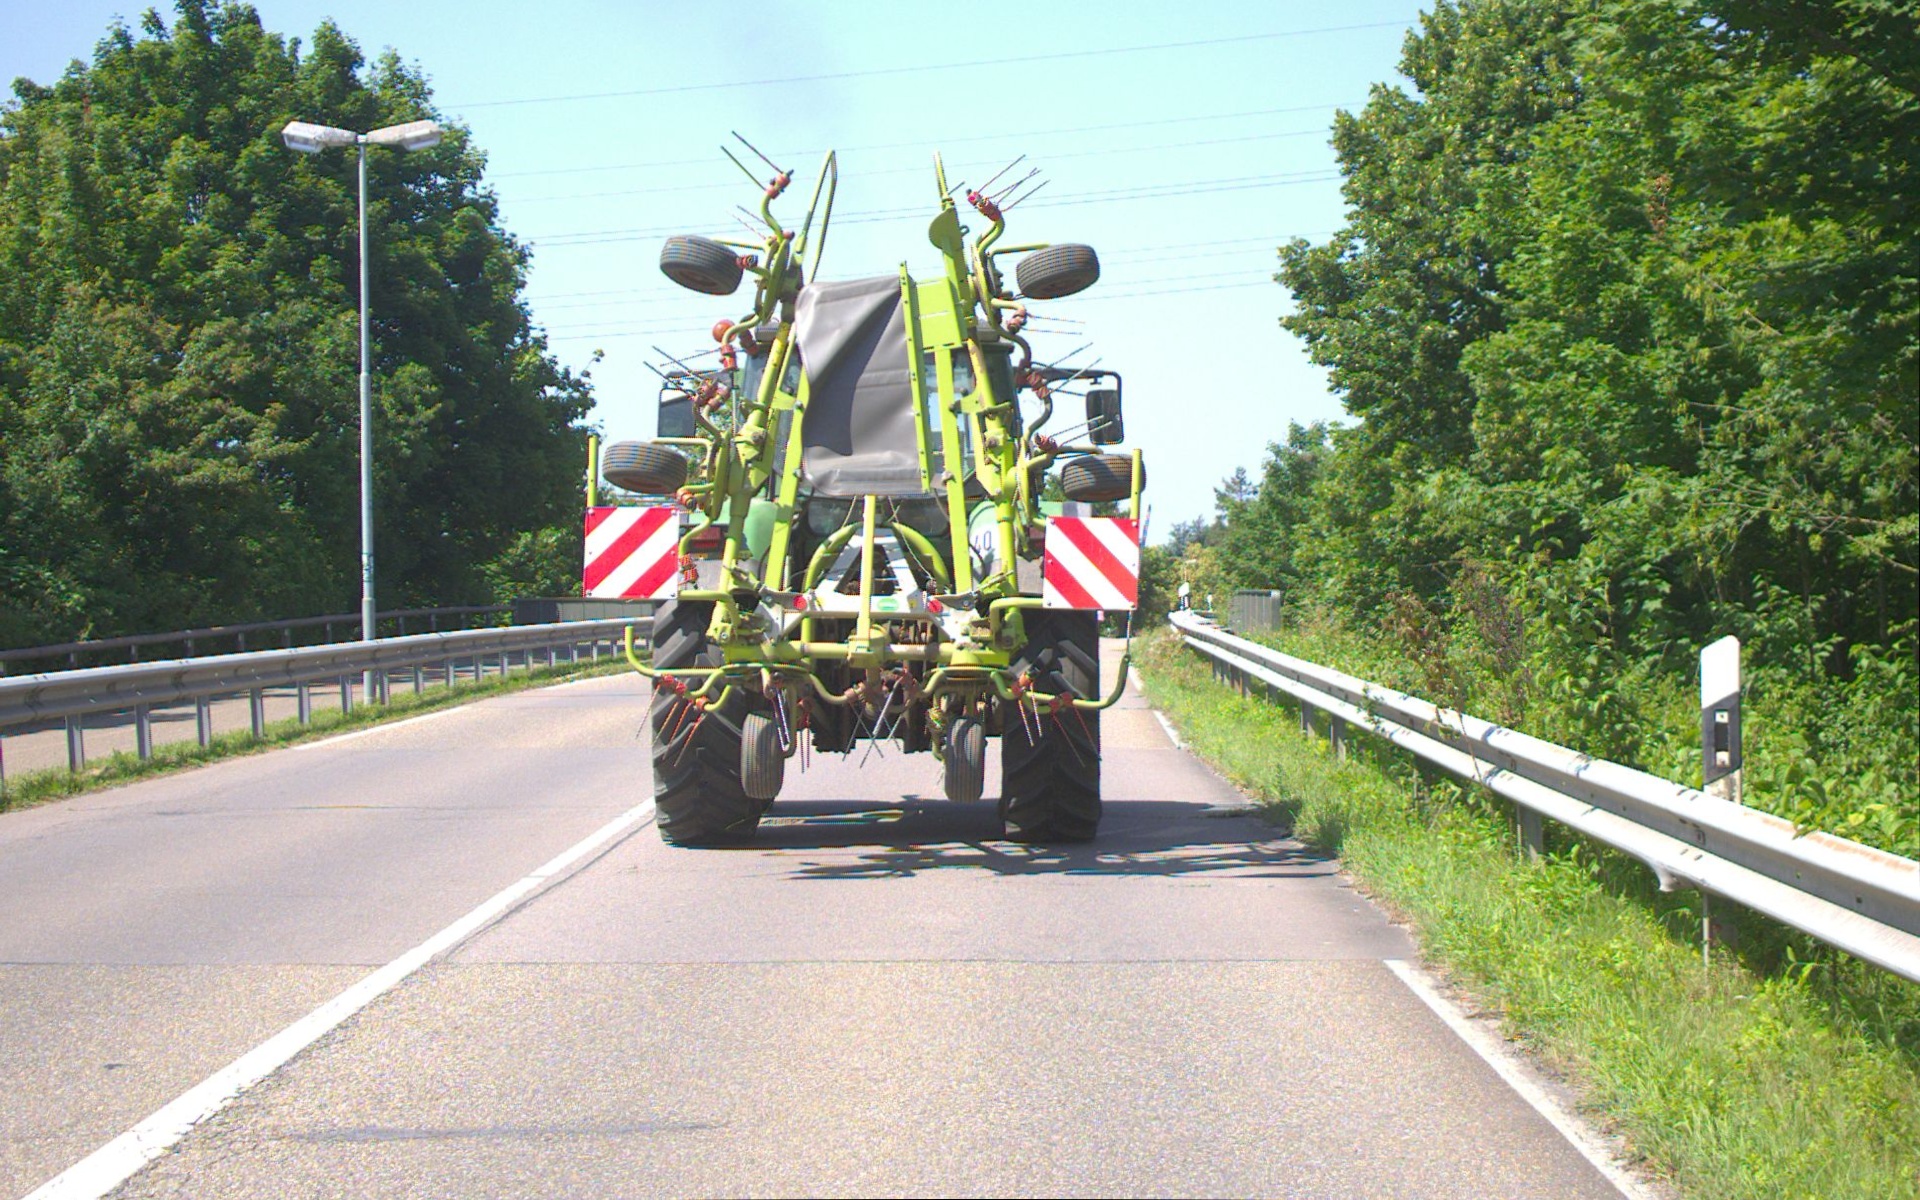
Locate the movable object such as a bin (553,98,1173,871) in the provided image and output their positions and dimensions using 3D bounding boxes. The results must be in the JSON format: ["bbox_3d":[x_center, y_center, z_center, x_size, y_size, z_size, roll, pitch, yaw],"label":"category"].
[{"bbox_3d":[-0.431,-0.571,18.134,2.755,3.432,5.670,0,1,0],"label":"movable object such as a bin"}]
